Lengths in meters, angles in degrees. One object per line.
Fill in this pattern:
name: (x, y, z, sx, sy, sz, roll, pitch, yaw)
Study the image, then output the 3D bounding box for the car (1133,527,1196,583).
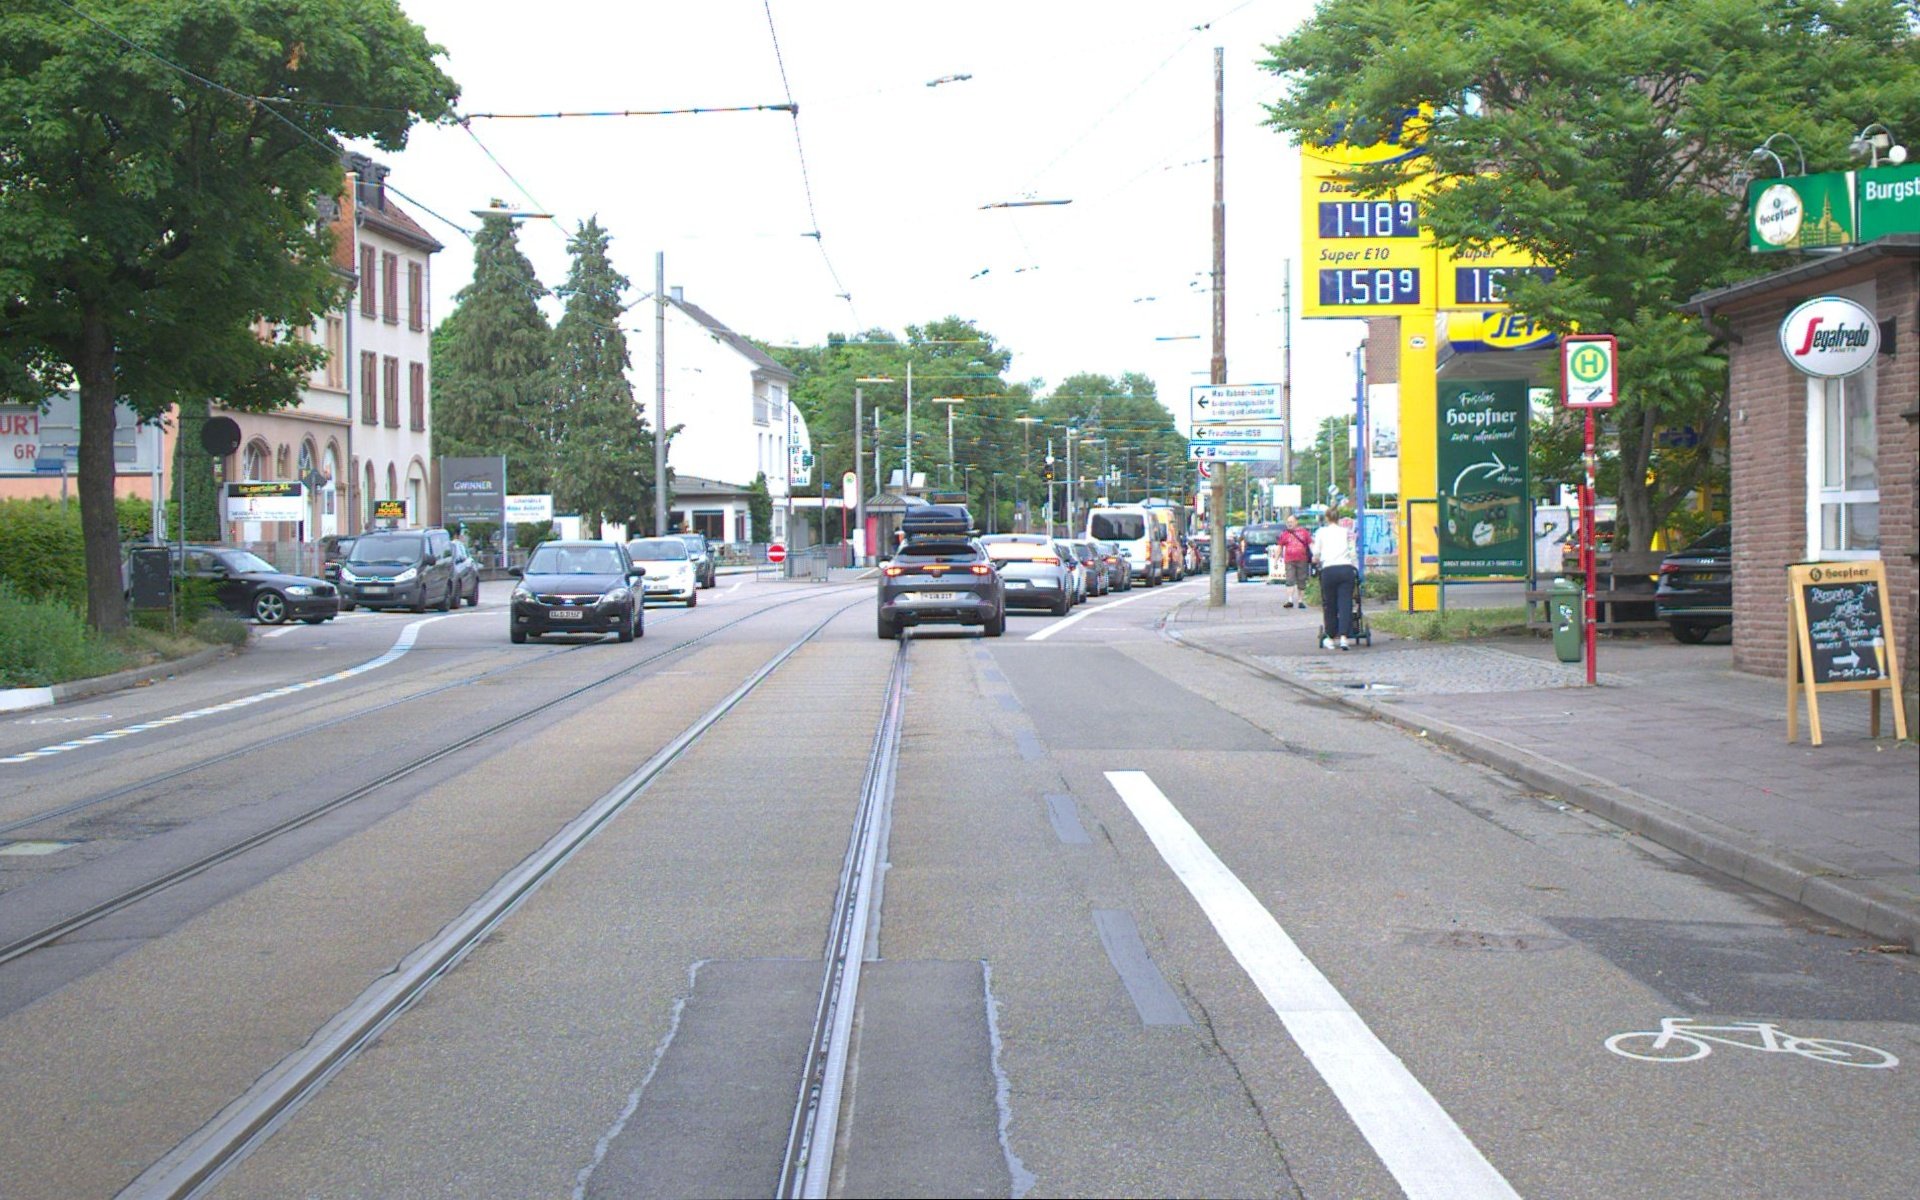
car: (7.554, -1.662, 127.274, 1.993, 2.007, 4.000, 1, 0, 0)

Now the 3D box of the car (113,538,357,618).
car: (-12.964, -0.411, 61.526, 3.924, 1.383, 1.800, 0, 1, 21)

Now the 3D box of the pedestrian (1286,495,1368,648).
pedestrian: (4.451, -0.349, 41.622, 0.768, 1.790, 1.161, -2, 0, 14)

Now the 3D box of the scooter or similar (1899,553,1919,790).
scooter or similar: (5.255, 0.366, 17.345, 0.577, 1.235, 1.410, -4, 1, 0)

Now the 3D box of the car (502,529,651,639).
car: (-5.624, -0.270, 50.867, 1.747, 1.481, 4.063, -1, 2, 0)

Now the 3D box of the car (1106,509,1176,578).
car: (5.825, -1.790, 110.689, 2.139, 2.138, 4.743, 1, 0, 3)

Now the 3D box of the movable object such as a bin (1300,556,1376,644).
movable object such as a bin: (4.678, -0.003, 42.486, 0.768, 1.035, 1.023, -2, 0, 14)

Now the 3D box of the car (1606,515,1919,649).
car: (9.639, -0.243, 40.142, 1.934, 1.402, 4.573, 0, 2, 44)

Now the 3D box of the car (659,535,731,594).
car: (-8.005, -1.067, 104.080, 1.827, 1.731, 4.335, -1, 1, 0)

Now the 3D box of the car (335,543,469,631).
car: (-12.639, -0.305, 78.179, 1.992, 1.880, 4.998, 1, 0, 2)

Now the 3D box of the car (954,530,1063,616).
car: (0.896, -0.537, 65.713, 1.981, 1.544, 4.183, 1, 1, 0)

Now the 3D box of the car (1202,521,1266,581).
car: (8.693, -1.543, 109.383, 1.874, 1.817, 4.096, 1, 0, 3)

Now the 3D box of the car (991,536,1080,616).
car: (1.733, -0.557, 79.020, 1.969, 1.750, 3.838, 1, 0, 1)

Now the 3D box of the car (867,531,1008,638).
car: (-0.334, -0.238, 51.402, 1.990, 1.492, 4.326, 1, 0, 0)

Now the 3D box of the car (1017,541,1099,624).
car: (2.495, -0.448, 87.365, 1.993, 2.007, 4.000, 1, 0, 2)

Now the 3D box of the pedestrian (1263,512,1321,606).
pedestrian: (6.275, -0.780, 65.046, 0.972, 1.732, 0.861, -2, 0, 3)

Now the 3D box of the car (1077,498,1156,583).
car: (4.593, -1.731, 101.481, 2.216, 2.415, 4.951, 1, 0, 2)

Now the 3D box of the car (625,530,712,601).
car: (-6.437, -0.766, 76.258, 1.703, 1.524, 3.742, 0, 0, -2)

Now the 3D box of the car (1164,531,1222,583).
car: (9.402, -1.720, 138.730, 1.993, 2.007, 4.000, 1, 0, 0)

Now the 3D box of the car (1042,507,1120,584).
car: (3.311, -1.470, 93.676, 1.994, 2.007, 4.000, 1, 0, 3)
